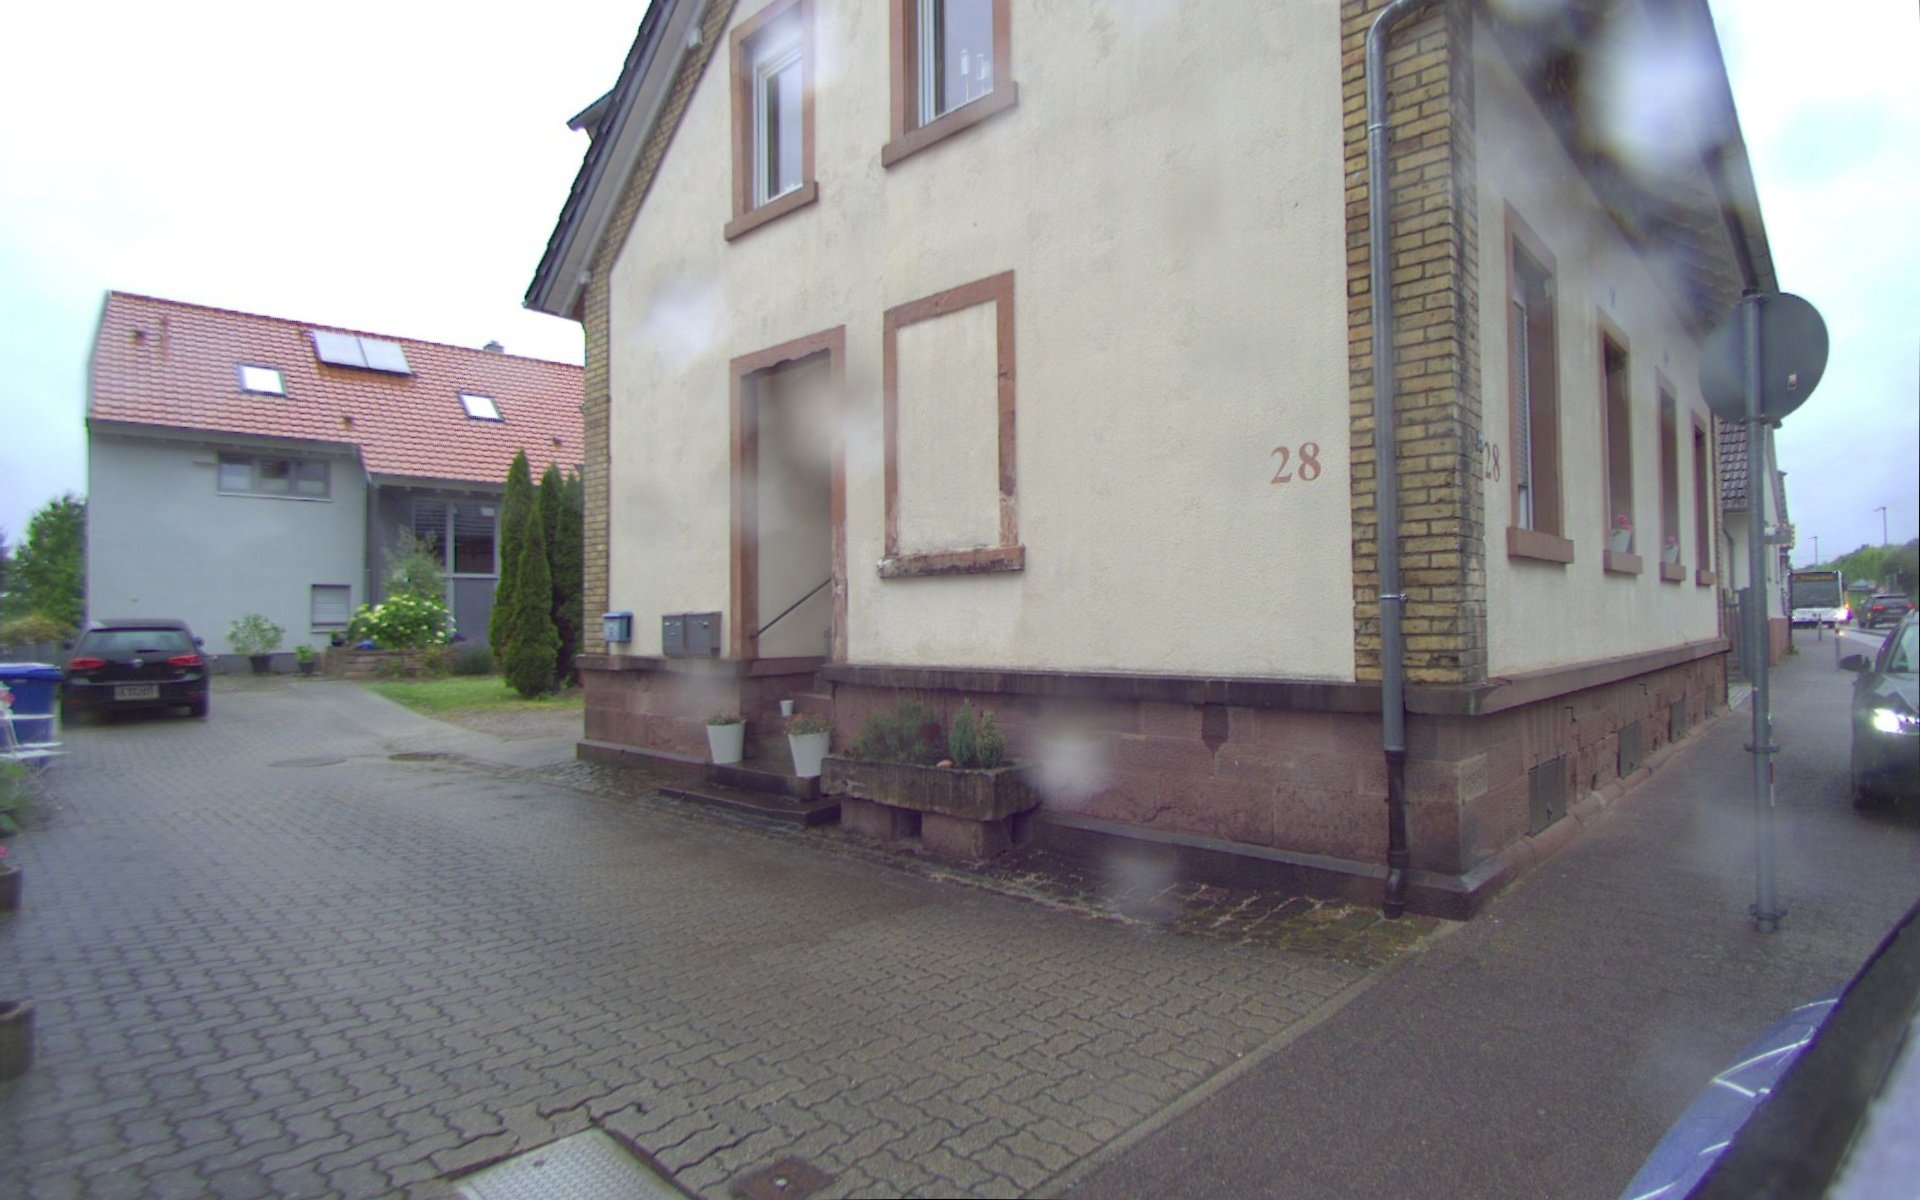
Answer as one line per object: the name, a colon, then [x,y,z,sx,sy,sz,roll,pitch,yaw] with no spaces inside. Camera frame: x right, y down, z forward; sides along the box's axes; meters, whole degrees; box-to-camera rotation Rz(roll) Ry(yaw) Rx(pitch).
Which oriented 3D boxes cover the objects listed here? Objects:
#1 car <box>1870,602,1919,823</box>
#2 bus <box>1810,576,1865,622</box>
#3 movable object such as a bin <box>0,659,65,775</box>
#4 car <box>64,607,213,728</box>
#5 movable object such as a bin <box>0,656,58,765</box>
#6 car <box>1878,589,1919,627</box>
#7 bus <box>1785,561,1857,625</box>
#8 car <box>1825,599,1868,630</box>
car: [8.008,0.727,7.577,1.733,1.388,4.040,0,0,42]
bus: [67.883,-0.141,78.474,2.656,3.273,12.022,0,0,39]
movable object such as a bin: [-9.572,1.178,10.296,0.676,1.110,0.535,0,-1,-45]
car: [-12.987,0.951,16.030,1.654,1.491,3.996,0,2,-40]
movable object such as a bin: [-10.181,1.176,10.893,0.676,1.110,0.535,0,-1,-45]
car: [46.410,0.363,49.775,1.779,1.686,4.359,-3,-1,42]
bus: [48.155,-0.431,56.839,2.656,3.273,12.022,0,0,39]
car: [61.840,0.966,70.649,1.989,2.039,3.945,0,0,38]
